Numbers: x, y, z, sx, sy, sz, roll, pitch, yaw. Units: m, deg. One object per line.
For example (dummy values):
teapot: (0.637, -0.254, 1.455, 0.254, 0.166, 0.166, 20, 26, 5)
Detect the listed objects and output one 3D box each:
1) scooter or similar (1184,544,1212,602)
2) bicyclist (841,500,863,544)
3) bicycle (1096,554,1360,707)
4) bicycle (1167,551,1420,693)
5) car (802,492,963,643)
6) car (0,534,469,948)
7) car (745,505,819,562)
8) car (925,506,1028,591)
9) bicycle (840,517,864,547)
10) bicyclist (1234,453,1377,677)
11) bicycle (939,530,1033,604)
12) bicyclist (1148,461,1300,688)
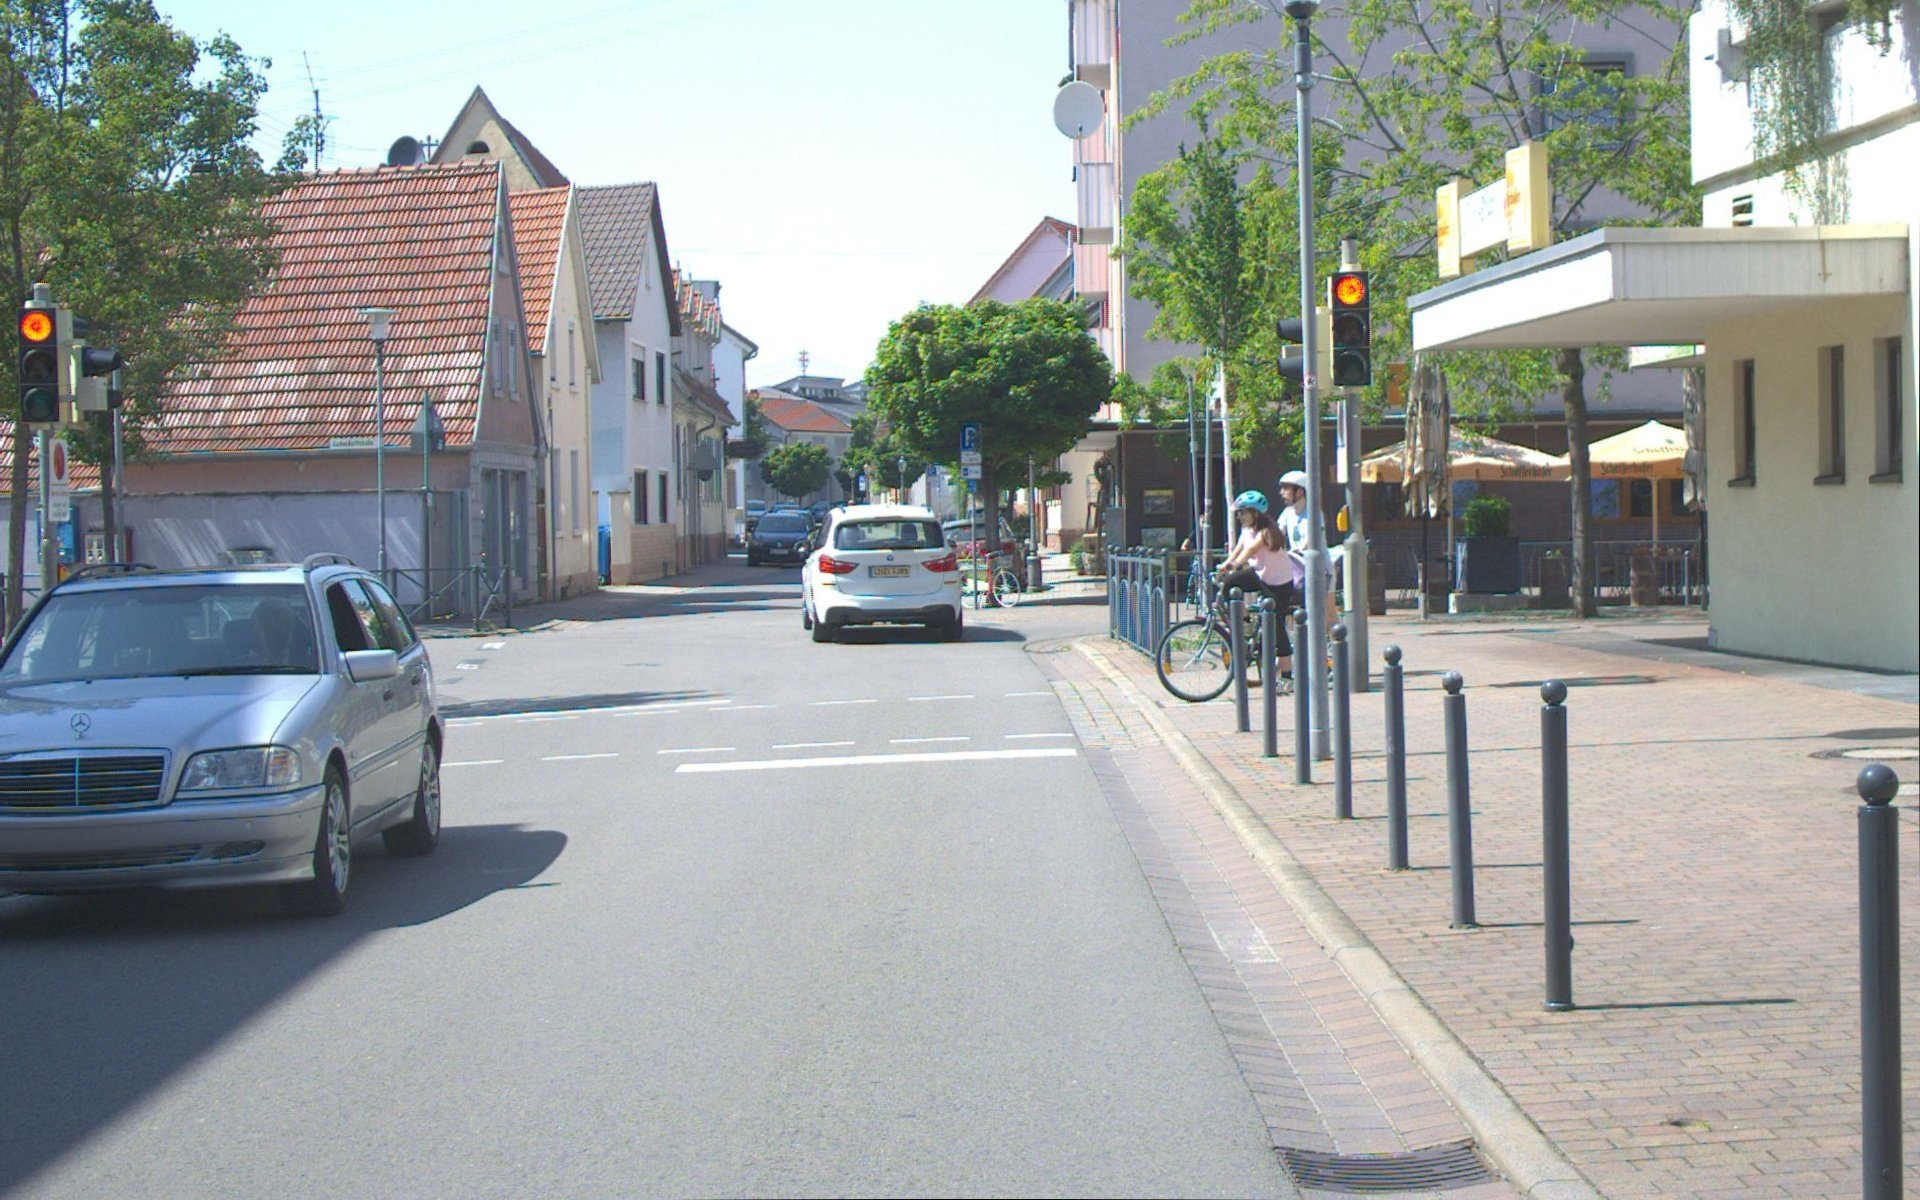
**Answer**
scooter or similar: (3.692, -0.419, 53.345, 0.379, 0.870, 0.890, -1, 1, 6)
bicyclist: (-3.720, -2.688, 118.311, 0.673, 1.477, 0.770, -1, 1, 3)
bicycle: (1.946, 0.205, 24.816, 1.890, 0.954, 0.676, -5, 3, -37)
bicycle: (2.562, 0.156, 26.286, 1.890, 0.954, 0.676, -4, 2, -35)
car: (-0.977, -0.441, 41.940, 1.833, 1.646, 4.001, -1, 3, -2)
car: (-3.434, 0.508, 15.067, 1.880, 1.459, 4.436, -3, 1, 0)
car: (-4.957, -1.876, 96.174, 1.714, 1.512, 3.786, -1, 1, 2)
car: (0.349, -1.007, 65.449, 1.805, 1.496, 4.000, -1, 2, 2)
bicycle: (-3.709, -2.358, 118.350, 0.664, 1.002, 1.897, -1, 2, 3)
bicyclist: (2.647, -0.272, 26.342, 0.759, 1.658, 0.671, -4, 2, -35)
bicycle: (0.415, -0.542, 56.661, 0.525, 1.189, 1.674, -2, 2, -43)
bicyclist: (1.907, -0.187, 24.800, 0.759, 1.576, 0.671, -5, 3, -38)
